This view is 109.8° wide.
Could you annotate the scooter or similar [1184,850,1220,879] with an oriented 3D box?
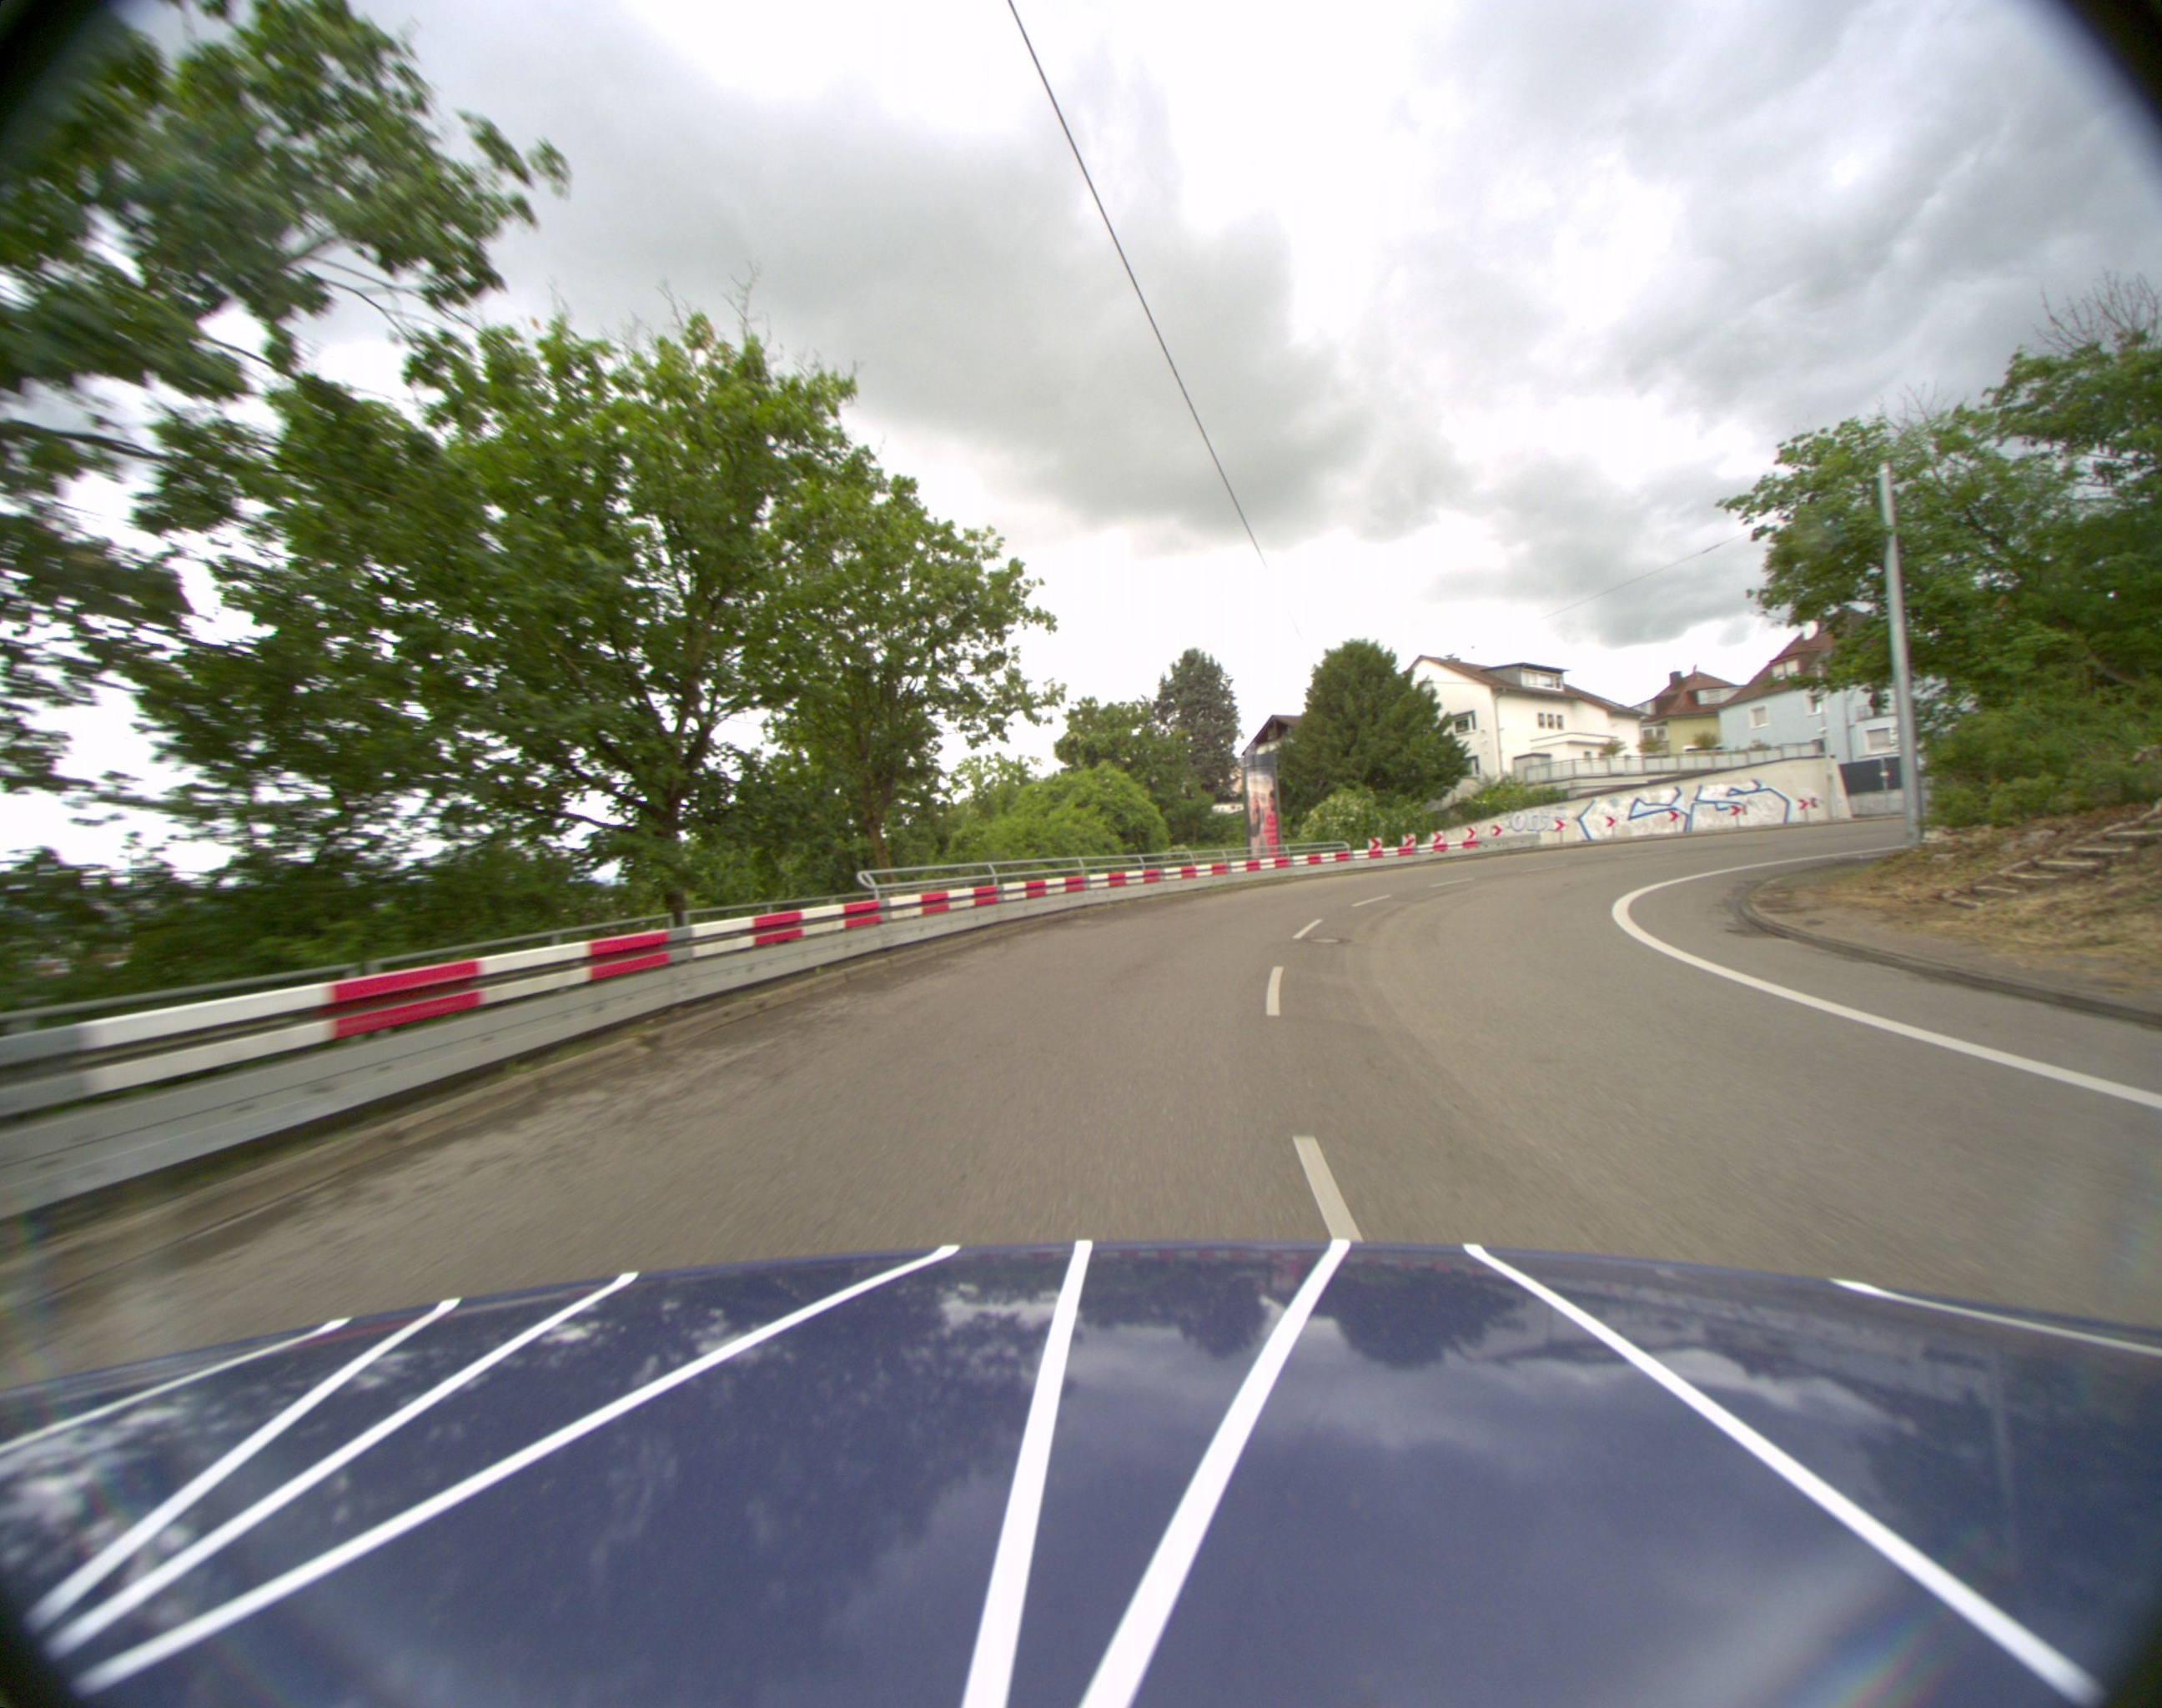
[{"bbox_3d":[5.674,0.498,35.714,1.498,1.243,0.437,-5,-1,26],"label":"scooter or similar"}]
